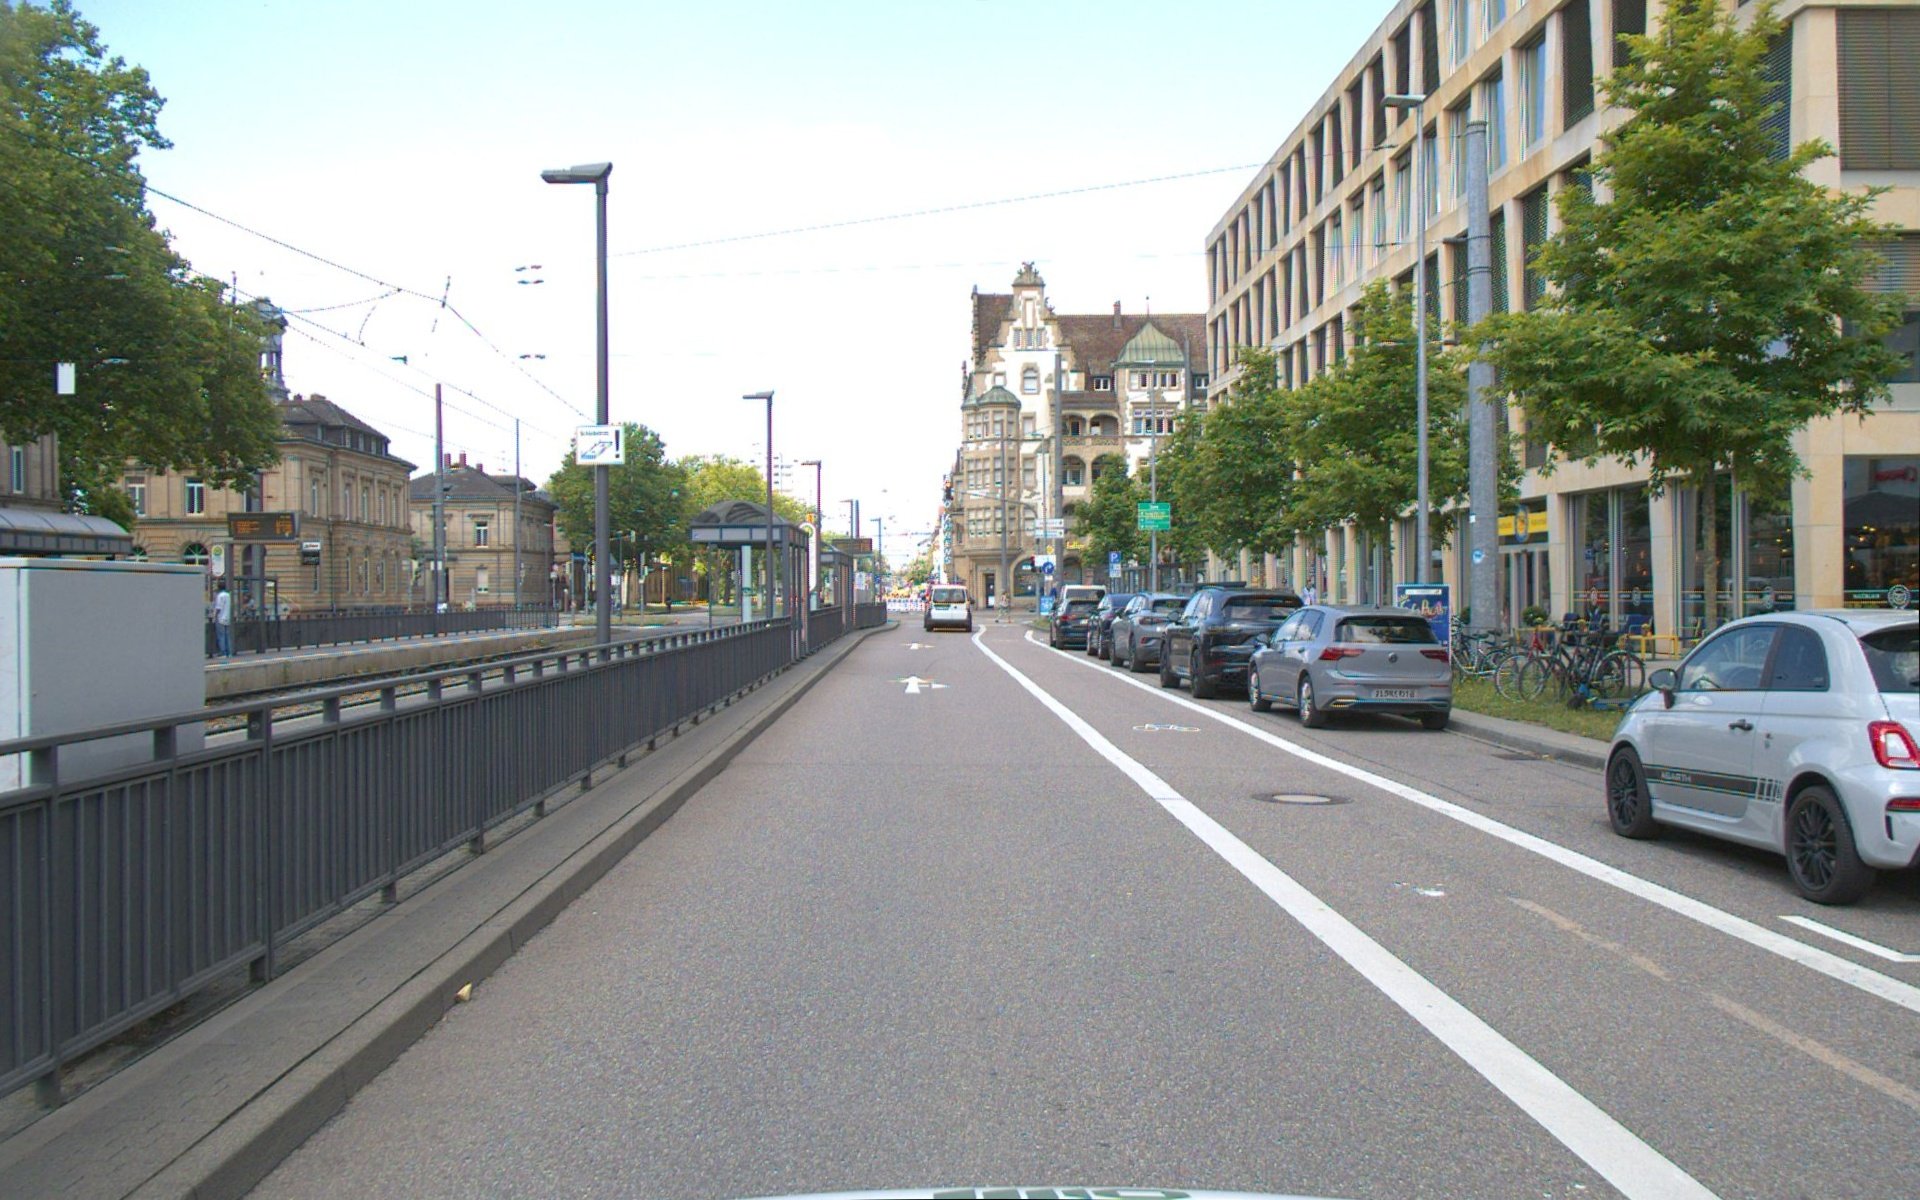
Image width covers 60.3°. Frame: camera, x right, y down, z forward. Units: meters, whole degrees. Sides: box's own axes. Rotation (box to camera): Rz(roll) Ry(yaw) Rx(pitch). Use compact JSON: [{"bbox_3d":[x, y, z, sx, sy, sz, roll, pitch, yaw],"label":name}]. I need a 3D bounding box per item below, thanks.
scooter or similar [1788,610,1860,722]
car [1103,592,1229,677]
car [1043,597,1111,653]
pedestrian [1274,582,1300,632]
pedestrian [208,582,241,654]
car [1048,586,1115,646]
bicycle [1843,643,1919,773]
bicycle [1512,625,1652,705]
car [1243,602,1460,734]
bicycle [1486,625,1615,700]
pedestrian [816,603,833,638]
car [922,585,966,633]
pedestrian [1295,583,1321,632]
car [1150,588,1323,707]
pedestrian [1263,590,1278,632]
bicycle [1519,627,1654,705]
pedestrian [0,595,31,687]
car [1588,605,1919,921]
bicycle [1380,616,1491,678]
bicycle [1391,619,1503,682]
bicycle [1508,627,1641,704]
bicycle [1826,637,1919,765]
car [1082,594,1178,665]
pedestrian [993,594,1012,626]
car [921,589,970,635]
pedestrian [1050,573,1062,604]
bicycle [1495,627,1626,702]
[{"bbox_3d":[9.845,0.734,18.873,0.253,1.237,1.015,-1,0,-2],"label":"scooter or similar"},{"bbox_3d":[4.244,0.664,34.823,1.771,1.619,4.838,1,0,-3],"label":"car"},{"bbox_3d":[3.314,0.677,47.488,1.414,1.496,4.090,1,0,-3],"label":"car"},{"bbox_3d":[11.487,0.250,58.127,0.745,1.754,0.659,-1,0,-2],"label":"pedestrian"},{"bbox_3d":[-17.620,0.425,39.641,0.490,1.713,0.643,-1,0,-1],"label":"pedestrian"},{"bbox_3d":[3.838,0.479,52.511,1.675,1.828,3.359,1,0,-3],"label":"car"},{"bbox_3d":[8.564,0.916,14.201,1.785,1.094,0.275,-1,0,2],"label":"bicycle"},{"bbox_3d":[8.203,0.853,21.821,1.717,1.003,0.325,-1,0,-2],"label":"bicycle"},{"bbox_3d":[4.821,0.780,20.933,1.559,1.459,4.104,1,0,-3],"label":"car"},{"bbox_3d":[8.441,0.889,23.649,1.717,1.003,0.325,-1,0,-2],"label":"bicycle"},{"bbox_3d":[-4.544,0.681,55.349,0.503,1.160,0.501,-2,0,-1],"label":"pedestrian"},{"bbox_3d":[-0.718,0.375,72.232,1.831,2.056,3.998,0,0,-2],"label":"car"},{"bbox_3d":[12.238,0.270,58.161,0.745,1.699,0.659,-1,0,-2],"label":"pedestrian"},{"bbox_3d":[4.308,0.683,26.531,1.703,1.698,4.838,1,0,-3],"label":"car"},{"bbox_3d":[10.893,0.395,58.021,0.430,1.474,0.433,-1,0,-2],"label":"pedestrian"},{"bbox_3d":[8.558,0.901,22.602,1.717,1.003,0.325,-1,0,-2],"label":"bicycle"},{"bbox_3d":[-16.529,0.703,28.668,0.490,1.585,0.643,-1,0,-1],"label":"pedestrian"},{"bbox_3d":[5.190,0.797,9.788,1.559,1.486,3.612,1,0,0],"label":"car"},{"bbox_3d":[8.407,0.825,29.254,1.786,1.048,0.584,-1,0,1],"label":"bicycle"},{"bbox_3d":[8.368,0.866,28.456,1.786,1.048,0.432,-1,0,1],"label":"bicycle"},{"bbox_3d":[8.513,0.902,22.943,1.717,1.003,0.325,-1,0,-2],"label":"bicycle"},{"bbox_3d":[8.582,0.876,14.506,1.785,1.094,0.275,-1,0,2],"label":"bicycle"},{"bbox_3d":[4.196,0.694,41.426,1.770,1.619,4.304,1,0,-2],"label":"car"},{"bbox_3d":[2.119,0.503,83.099,0.791,1.599,0.627,-2,0,-11],"label":"pedestrian"},{"bbox_3d":[-0.603,0.460,65.854,1.831,1.777,3.998,0,0,-2],"label":"car"},{"bbox_3d":[4.919,-0.589,84.915,0.523,1.599,0.542,-2,0,-3],"label":"pedestrian"},{"bbox_3d":[8.454,0.904,23.301,1.717,1.003,0.325,-1,0,-2],"label":"bicycle"}]
